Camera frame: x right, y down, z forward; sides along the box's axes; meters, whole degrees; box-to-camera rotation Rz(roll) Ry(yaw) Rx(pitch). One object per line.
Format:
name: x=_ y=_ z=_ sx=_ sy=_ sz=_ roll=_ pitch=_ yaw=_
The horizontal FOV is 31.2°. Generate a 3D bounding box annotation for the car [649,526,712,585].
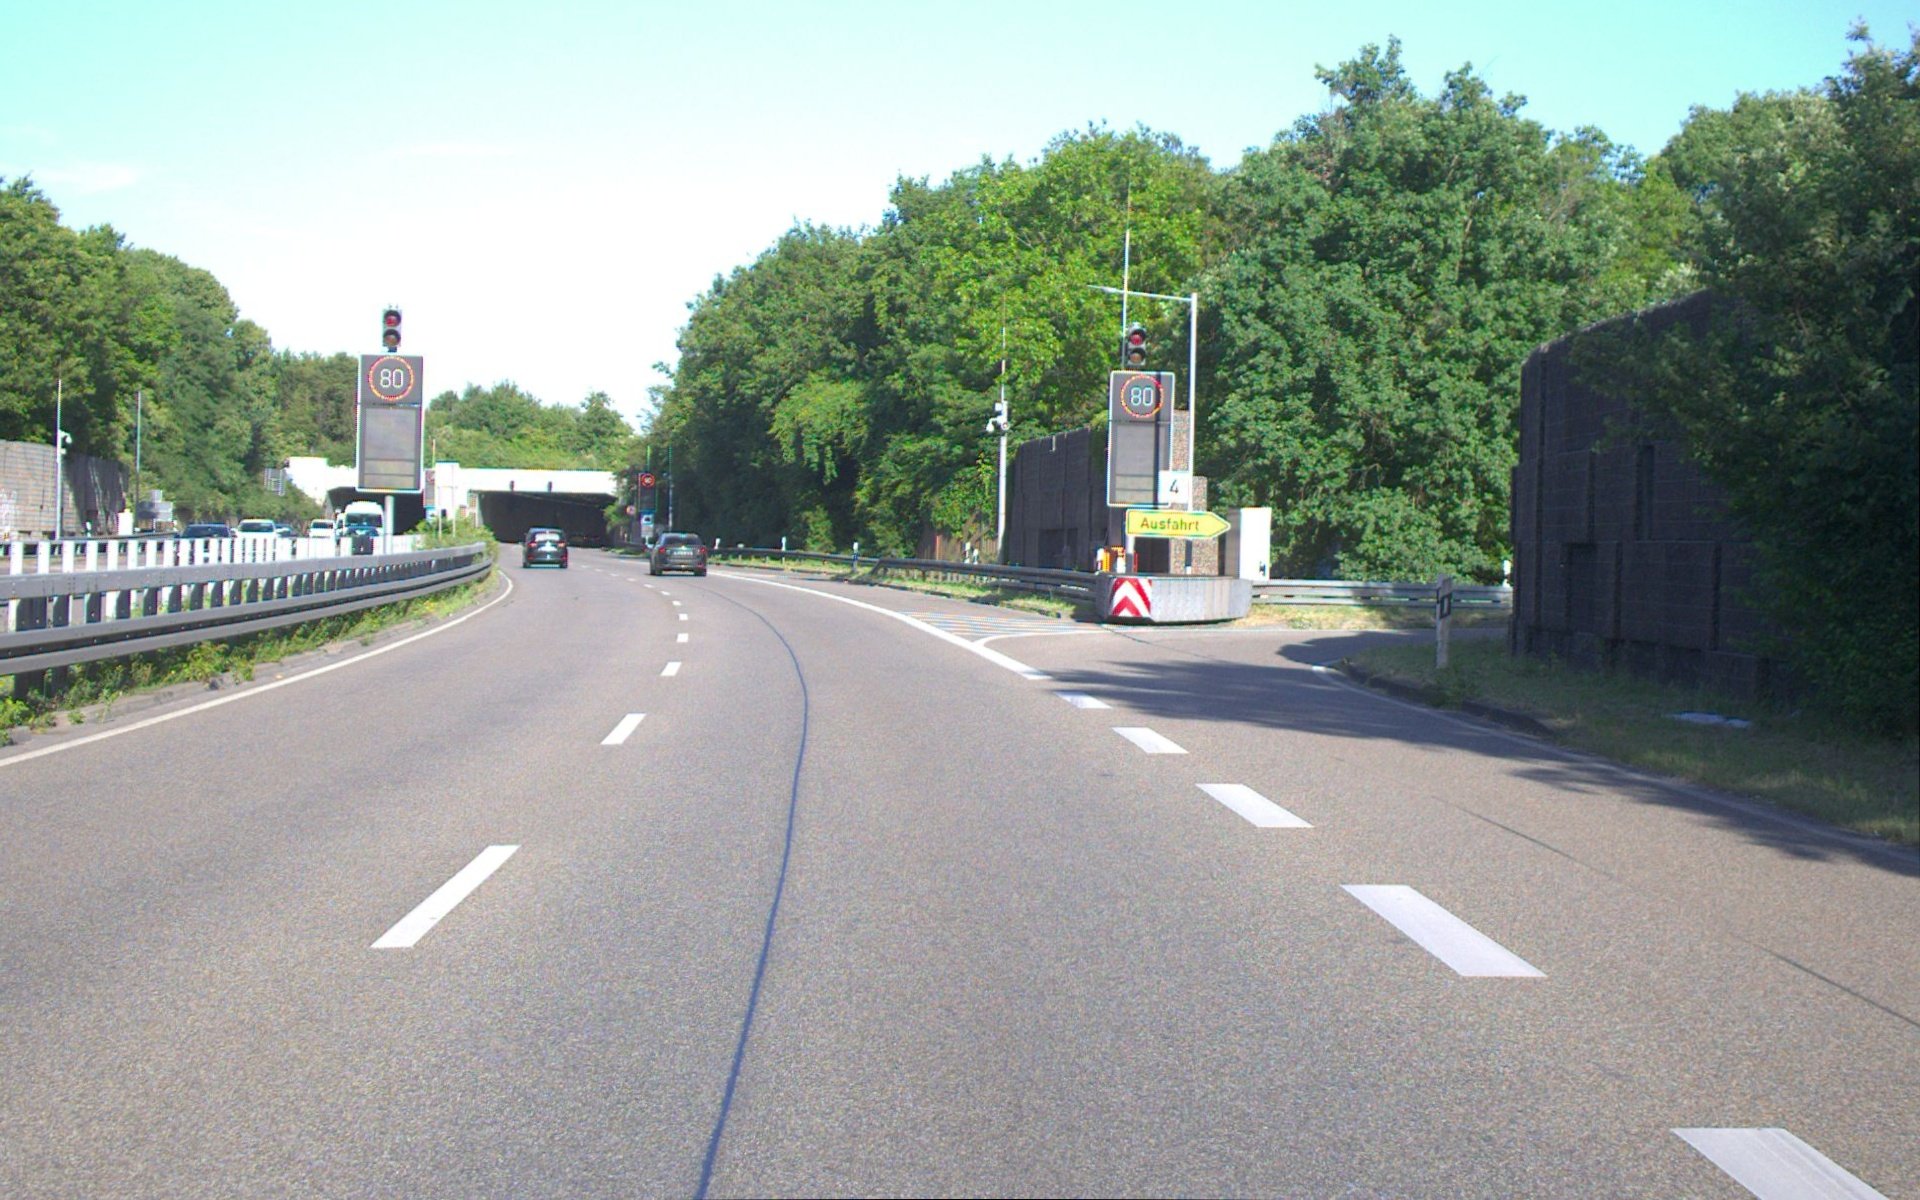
car: x=-9.732 y=-1.577 z=119.544 sx=1.993 sy=1.919 sz=4.001 roll=2 pitch=2 yaw=-7

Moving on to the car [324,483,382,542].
car: x=-29.393 y=-4.252 z=166.646 sx=2.120 sy=2.674 sz=6.590 roll=3 pitch=2 yaw=-5

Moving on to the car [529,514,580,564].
car: x=-16.542 y=-2.501 z=140.284 sx=1.993 sy=1.919 sz=4.001 roll=2 pitch=2 yaw=-7

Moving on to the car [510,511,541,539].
car: x=-31.712 y=-5.448 z=250.707 sx=1.993 sy=1.919 sz=4.001 roll=2 pitch=2 yaw=-10

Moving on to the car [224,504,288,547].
car: x=-28.964 y=-3.087 z=141.581 sx=1.993 sy=1.590 sz=4.622 roll=3 pitch=2 yaw=-5

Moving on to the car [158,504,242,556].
car: x=-24.401 y=-2.267 z=110.493 sx=1.993 sy=1.475 sz=4.536 roll=3 pitch=2 yaw=-5
